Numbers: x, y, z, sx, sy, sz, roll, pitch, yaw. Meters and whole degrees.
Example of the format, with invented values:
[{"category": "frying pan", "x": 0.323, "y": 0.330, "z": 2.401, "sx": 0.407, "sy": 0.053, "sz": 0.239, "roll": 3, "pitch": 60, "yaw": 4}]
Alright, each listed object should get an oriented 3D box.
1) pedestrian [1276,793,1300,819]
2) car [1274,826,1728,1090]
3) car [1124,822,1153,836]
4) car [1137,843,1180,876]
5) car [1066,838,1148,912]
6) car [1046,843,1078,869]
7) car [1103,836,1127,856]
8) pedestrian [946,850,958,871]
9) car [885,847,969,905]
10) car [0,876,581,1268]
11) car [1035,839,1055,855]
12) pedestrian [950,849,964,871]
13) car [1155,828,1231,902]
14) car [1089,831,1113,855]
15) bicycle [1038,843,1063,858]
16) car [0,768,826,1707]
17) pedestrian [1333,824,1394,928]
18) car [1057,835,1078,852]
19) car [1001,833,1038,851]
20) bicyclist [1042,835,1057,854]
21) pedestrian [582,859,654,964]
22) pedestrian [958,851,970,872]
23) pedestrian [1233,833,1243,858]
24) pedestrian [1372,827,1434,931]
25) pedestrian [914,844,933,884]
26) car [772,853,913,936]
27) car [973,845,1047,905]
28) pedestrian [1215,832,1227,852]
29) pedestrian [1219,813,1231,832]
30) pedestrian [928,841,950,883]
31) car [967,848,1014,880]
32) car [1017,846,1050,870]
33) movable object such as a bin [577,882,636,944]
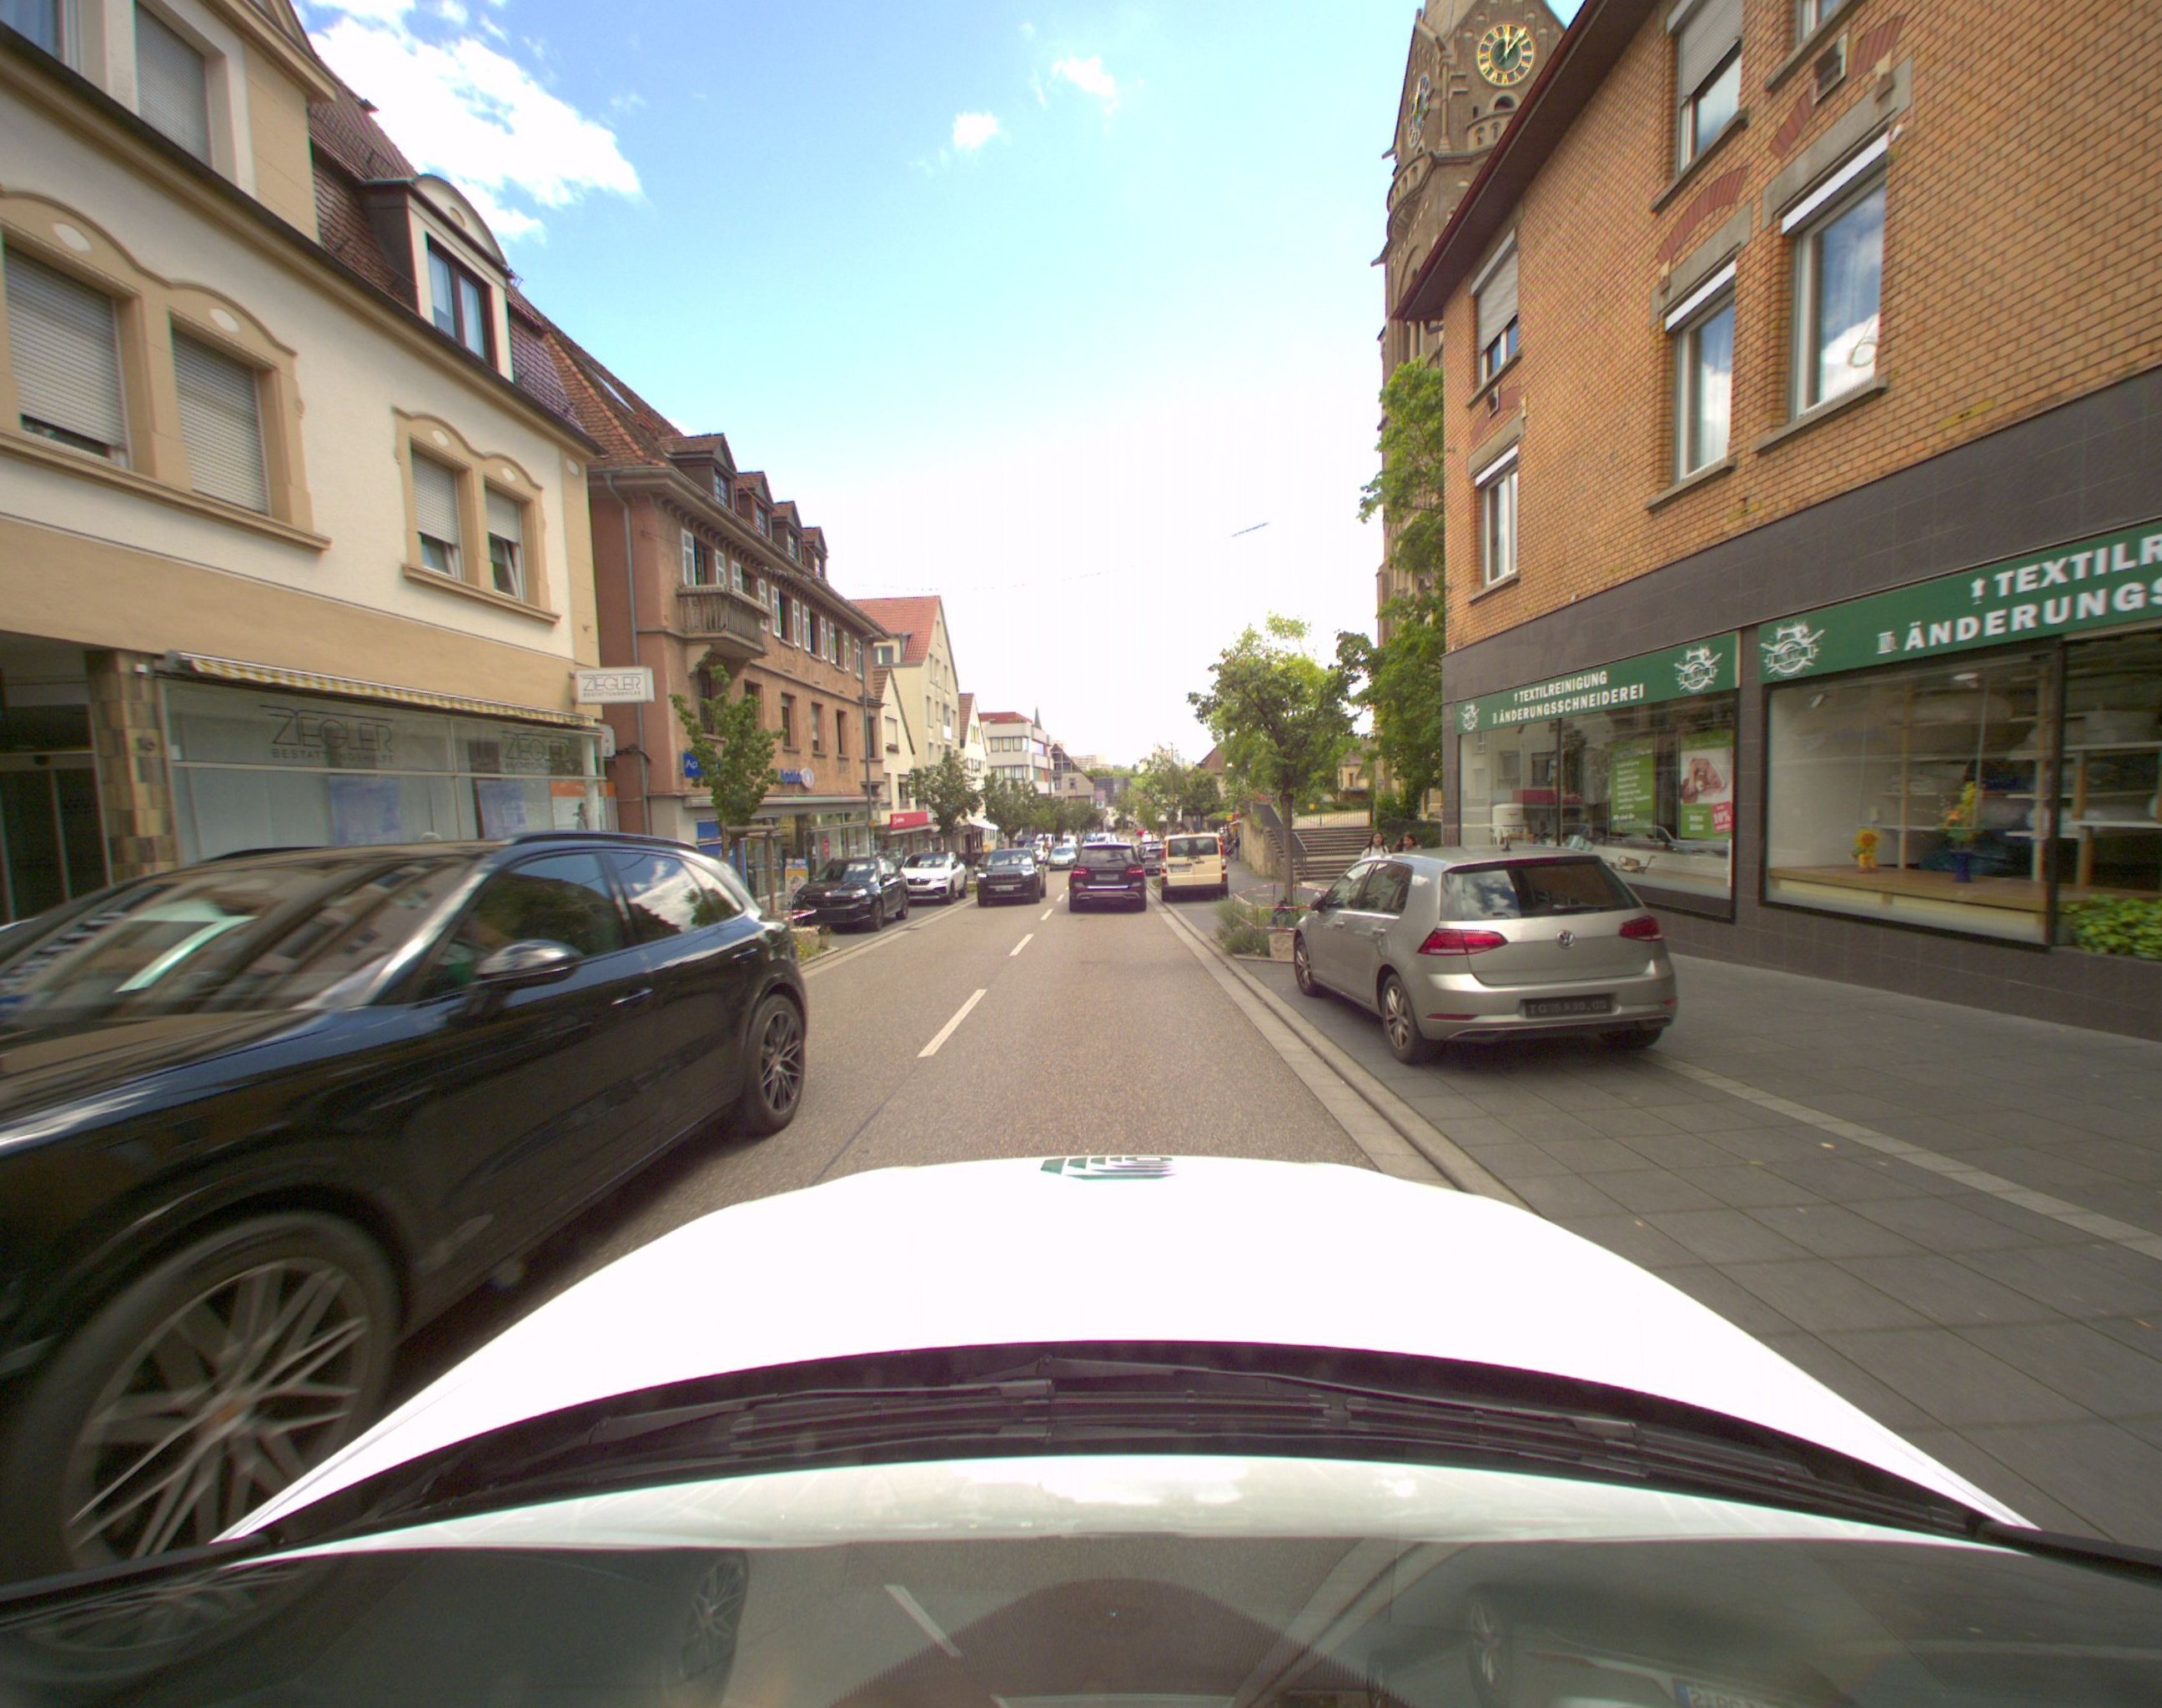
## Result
[{"category": "pedestrian", "x": 10.283, "y": -2.365, "z": 40.454, "sx": 0.986, "sy": 1.231, "sz": 0.984, "roll": -2, "pitch": 0, "yaw": 3}, {"category": "car", "x": 3.017, "y": 0.612, "z": 6.951, "sx": 1.742, "sy": 1.465, "sz": 4.075, "roll": -4, "pitch": 0, "yaw": 1}, {"category": "car", "x": 9.129, "y": -3.955, "z": 129.715, "sx": 4.143, "sy": 2.029, "sz": 1.799, "roll": -2, "pitch": 0, "yaw": 35}, {"category": "car", "x": 3.945, "y": 0.234, "z": 42.294, "sx": 1.930, "sy": 1.456, "sz": 4.710, "roll": -2, "pitch": 1, "yaw": 2}, {"category": "car", "x": 0.689, "y": 0.461, "z": 21.432, "sx": 1.936, "sy": 1.739, "sz": 4.181, "roll": 0, "pitch": 1, "yaw": 2}, {"category": "car", "x": -1.156, "y": 0.089, "z": 52.195, "sx": 1.806, "sy": 1.508, "sz": 4.001, "roll": -3, "pitch": 1, "yaw": 1}, {"category": "car", "x": 2.858, "y": -0.671, "z": 69.006, "sx": 1.919, "sy": 1.628, "sz": 4.264, "roll": 0, "pitch": 1, "yaw": 2}, {"category": "pedestrian", "x": -8.277, "y": 0.411, "z": 52.195, "sx": 0.563, "sy": 1.281, "sz": 0.759, "roll": -1, "pitch": 0, "yaw": 1}, {"category": "car", "x": -4.747, "y": 0.630, "z": 25.735, "sx": 1.921, "sy": 1.595, "sz": 4.456, "roll": 0, "pitch": 1, "yaw": -1}, {"category": "car", "x": -5.266, "y": 0.952, "z": 4.717, "sx": 1.919, "sy": 1.430, "sz": 4.265, "roll": -1, "pitch": 1, "yaw": 3}, {"category": "car", "x": -3.787, "y": -0.778, "z": 86.101, "sx": 1.920, "sy": 1.628, "sz": 4.414, "roll": 0, "pitch": 1, "yaw": 0}, {"category": "pedestrian", "x": -7.720, "y": 0.370, "z": 50.814, "sx": 0.684, "sy": 1.281, "sz": 0.676, "roll": -2, "pitch": 0, "yaw": 1}, {"category": "car", "x": 3.282, "y": 0.238, "z": 24.420, "sx": 1.928, "sy": 1.891, "sz": 4.715, "roll": -4, "pitch": 1, "yaw": 6}, {"category": "car", "x": 2.149, "y": -1.167, "z": 86.782, "sx": 2.163, "sy": 2.364, "sz": 4.630, "roll": -2, "pitch": 0, "yaw": 6}, {"category": "bicycle", "x": -2.603, "y": -0.301, "z": 69.706, "sx": 1.966, "sy": 1.057, "sz": 0.706, "roll": -4, "pitch": 0, "yaw": -26}, {"category": "car", "x": -2.758, "y": 0.751, "z": 3.064, "sx": 1.984, "sy": 1.718, "sz": 4.449, "roll": -3, "pitch": 0, "yaw": 2}, {"category": "pedestrian", "x": 4.615, "y": 0.348, "z": 13.348, "sx": 0.670, "sy": 1.632, "sz": 0.669, "roll": -4, "pitch": 0, "yaw": -1}, {"category": "car", "x": -1.362, "y": -1.116, "z": 83.071, "sx": 1.919, "sy": 1.628, "sz": 4.264, "roll": 0, "pitch": 1, "yaw": 2}, {"category": "car", "x": -7.050, "y": -1.335, "z": 93.613, "sx": 3.977, "sy": 1.749, "sz": 1.998, "roll": -4, "pitch": 0, "yaw": -3}, {"category": "bicyclist", "x": -2.660, "y": -0.817, "z": 69.680, "sx": 0.967, "sy": 1.609, "sz": 0.724, "roll": -4, "pitch": 0, "yaw": -25}, {"category": "pedestrian", "x": -7.357, "y": 0.892, "z": 12.966, "sx": 0.545, "sy": 1.575, "sz": 0.863, "roll": -3, "pitch": 1, "yaw": 1}, {"category": "pedestrian", "x": -7.487, "y": 0.485, "z": 52.153, "sx": 0.563, "sy": 1.281, "sz": 0.759, "roll": -1, "pitch": 0, "yaw": 1}, {"category": "pedestrian", "x": 10.101, "y": -0.527, "z": 52.533, "sx": 0.565, "sy": 1.586, "sz": 0.668, "roll": -2, "pitch": 0, "yaw": 10}, {"category": "pedestrian", "x": 5.324, "y": 0.395, "z": 13.495, "sx": 0.670, "sy": 1.632, "sz": 0.669, "roll": -4, "pitch": 0, "yaw": -1}, {"category": "pedestrian", "x": -6.714, "y": 0.403, "z": 34.759, "sx": 0.639, "sy": 1.667, "sz": 0.720, "roll": -1, "pitch": 0, "yaw": 1}, {"category": "car", "x": -5.185, "y": 0.806, "z": 18.333, "sx": 1.921, "sy": 1.496, "sz": 4.260, "roll": -2, "pitch": 1, "yaw": -1}, {"category": "car", "x": -2.081, "y": 0.569, "z": 24.793, "sx": 1.758, "sy": 1.617, "sz": 4.033, "roll": -2, "pitch": 0, "yaw": 1}, {"category": "pedestrian", "x": 13.773, "y": -1.186, "z": 80.032, "sx": 1.044, "sy": 1.912, "sz": 0.939, "roll": -4, "pitch": 0, "yaw": 9}, {"category": "pedestrian", "x": 16.457, "y": -3.581, "z": 93.081, "sx": 1.003, "sy": 2.151, "sz": 1.073, "roll": -4, "pitch": 0, "yaw": 20}, {"category": "pedestrian", "x": -5.755, "y": 0.314, "z": 33.107, "sx": 0.724, "sy": 1.667, "sz": 0.720, "roll": -1, "pitch": 0, "yaw": 1}, {"category": "car", "x": -4.626, "y": 0.490, "z": 42.207, "sx": 1.920, "sy": 1.496, "sz": 4.263, "roll": 0, "pitch": 1, "yaw": 1}, {"category": "car", "x": -3.399, "y": 0.259, "z": 58.816, "sx": 1.919, "sy": 1.628, "sz": 4.264, "roll": -1, "pitch": 1, "yaw": 2}, {"category": "movable object such as a bin", "x": -9.125, "y": 1.128, "z": 15.688, "sx": 0.738, "sy": 1.084, "sz": 0.547, "roll": -4, "pitch": 0, "yaw": 0}]
